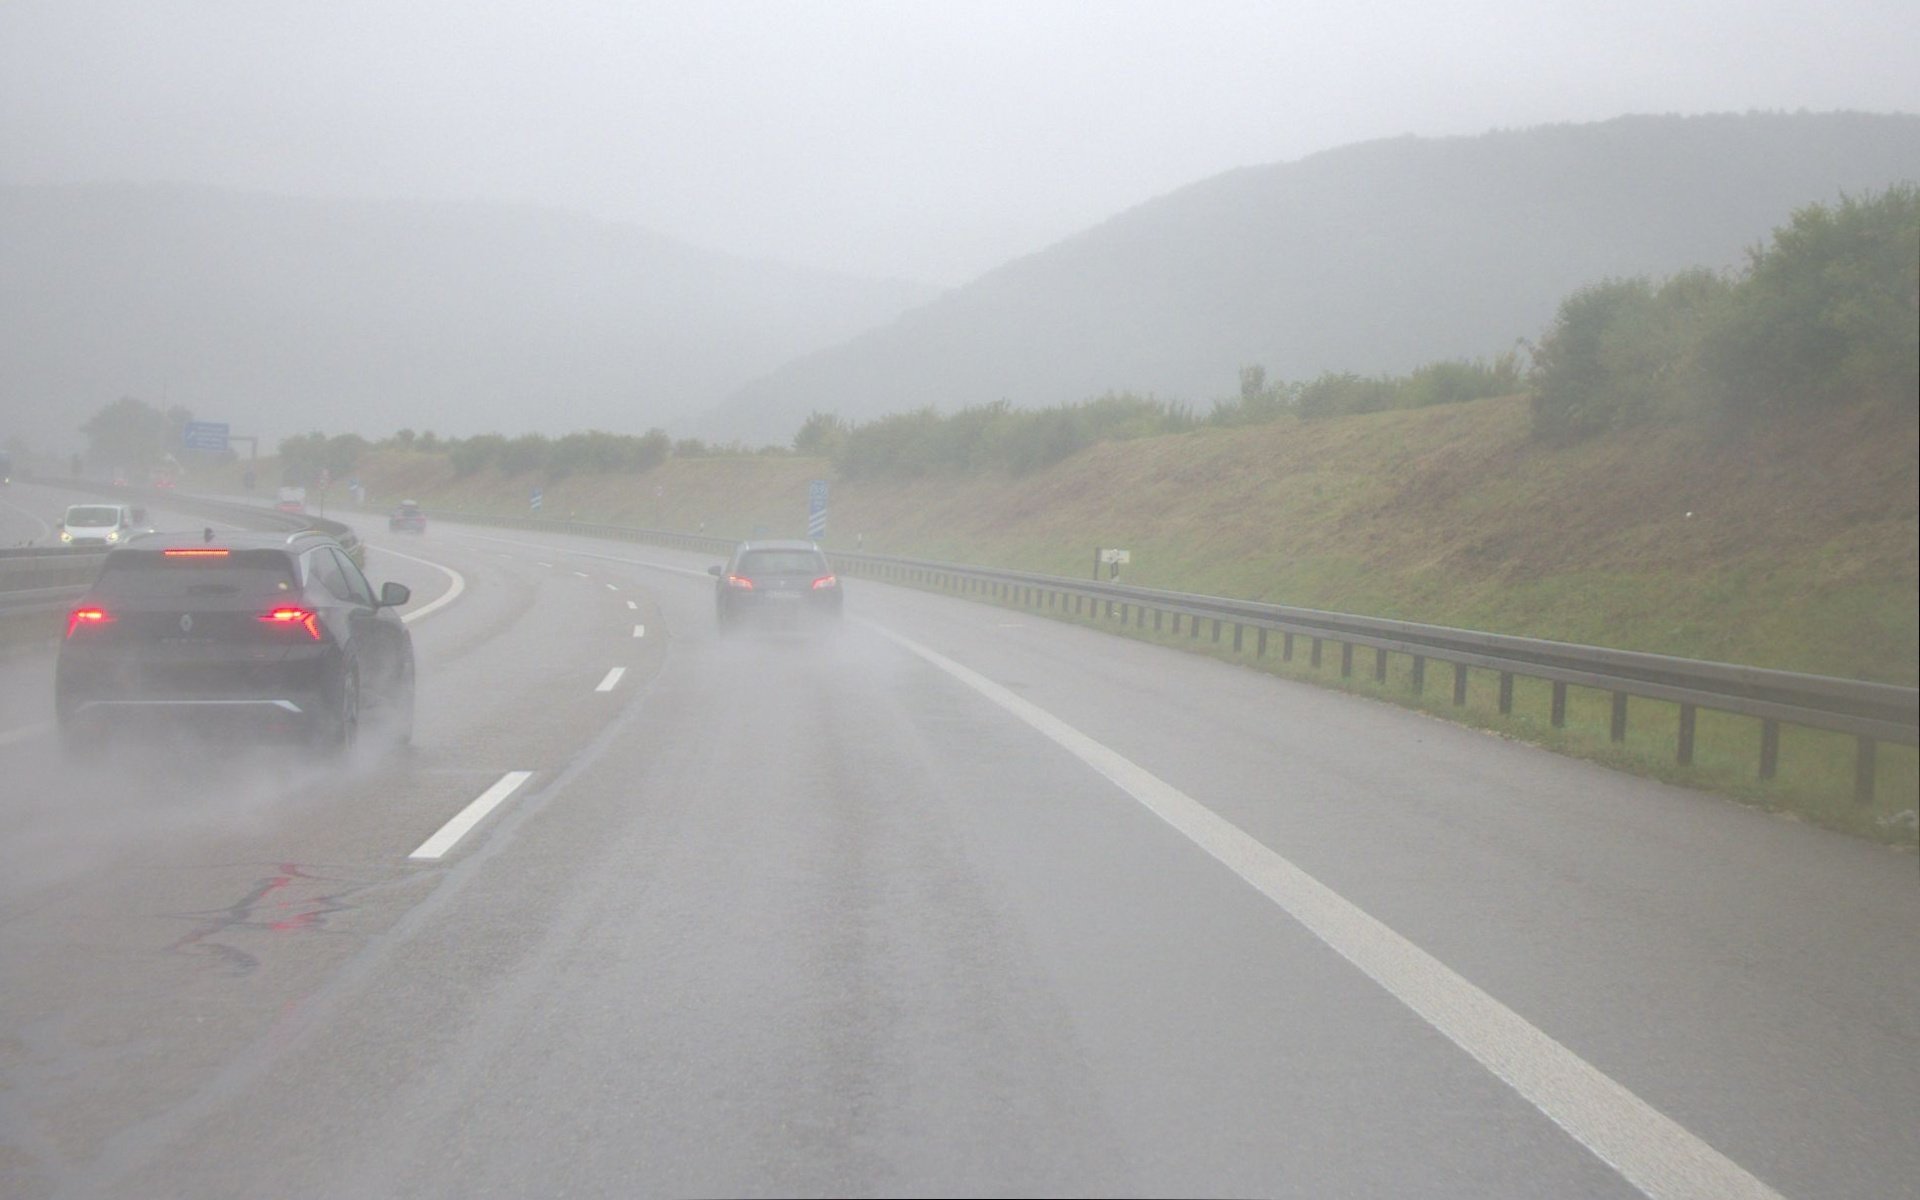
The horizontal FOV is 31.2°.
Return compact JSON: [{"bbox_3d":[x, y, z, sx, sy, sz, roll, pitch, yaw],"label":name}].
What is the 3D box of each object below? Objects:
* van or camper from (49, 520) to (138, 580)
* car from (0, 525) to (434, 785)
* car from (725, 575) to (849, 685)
[{"bbox_3d":[-27.636,-1.613,109.759,1.993,1.871,5.347,0,1,-6],"label":"van or camper"},{"bbox_3d":[-5.000,0.311,23.326,2.405,1.510,4.785,2,0,-4],"label":"car"},{"bbox_3d":[-2.544,0.404,50.035,1.679,1.467,3.815,2,1,-4],"label":"car"}]
